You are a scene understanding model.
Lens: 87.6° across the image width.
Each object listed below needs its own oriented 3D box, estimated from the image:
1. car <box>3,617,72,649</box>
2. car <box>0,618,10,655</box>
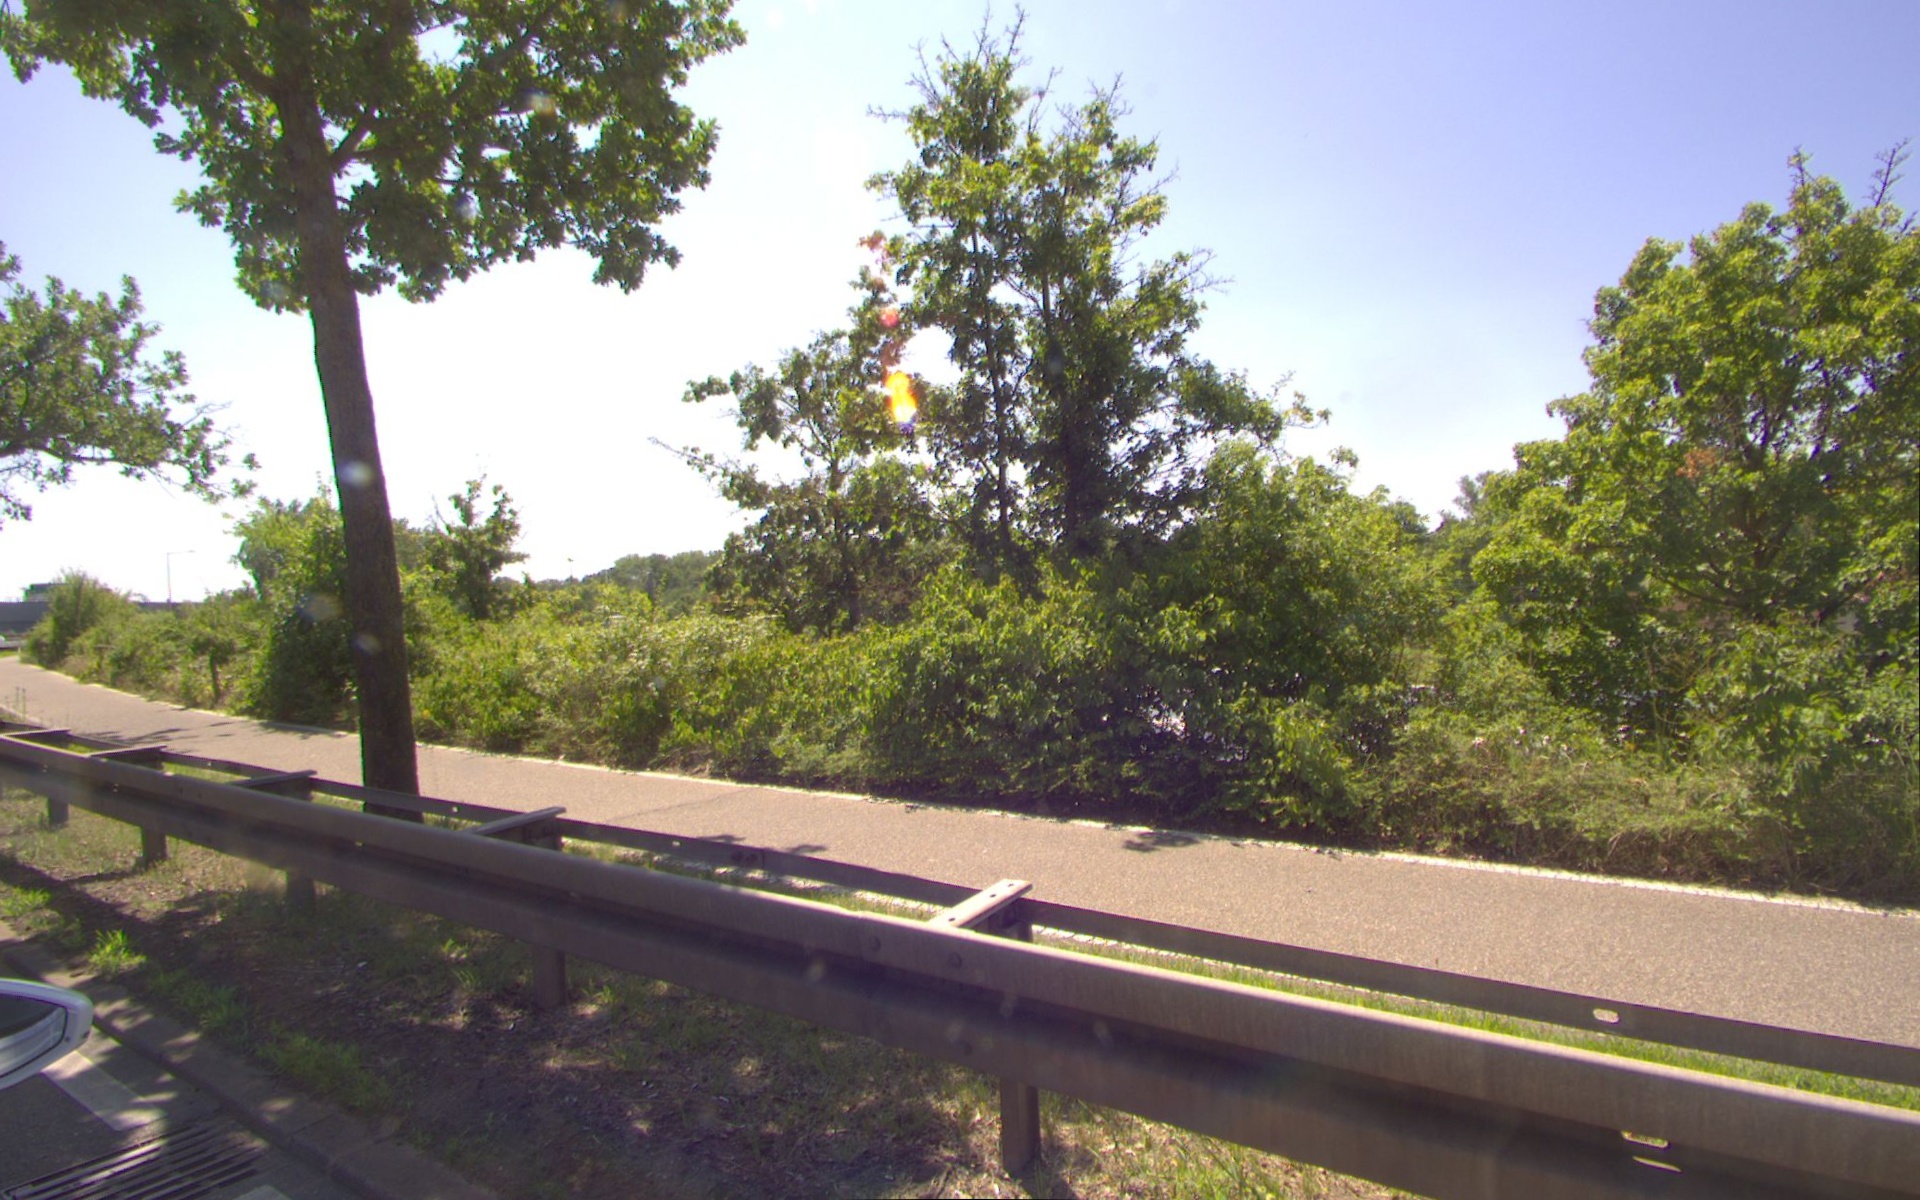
[{"bbox_3d":[-53.506,1.910,58.174,1.972,1.739,4.842,1,-2,-31],"label":"car"},{"bbox_3d":[-47.723,1.771,48.423,1.976,1.831,4.811,1,-2,-36],"label":"car"}]
